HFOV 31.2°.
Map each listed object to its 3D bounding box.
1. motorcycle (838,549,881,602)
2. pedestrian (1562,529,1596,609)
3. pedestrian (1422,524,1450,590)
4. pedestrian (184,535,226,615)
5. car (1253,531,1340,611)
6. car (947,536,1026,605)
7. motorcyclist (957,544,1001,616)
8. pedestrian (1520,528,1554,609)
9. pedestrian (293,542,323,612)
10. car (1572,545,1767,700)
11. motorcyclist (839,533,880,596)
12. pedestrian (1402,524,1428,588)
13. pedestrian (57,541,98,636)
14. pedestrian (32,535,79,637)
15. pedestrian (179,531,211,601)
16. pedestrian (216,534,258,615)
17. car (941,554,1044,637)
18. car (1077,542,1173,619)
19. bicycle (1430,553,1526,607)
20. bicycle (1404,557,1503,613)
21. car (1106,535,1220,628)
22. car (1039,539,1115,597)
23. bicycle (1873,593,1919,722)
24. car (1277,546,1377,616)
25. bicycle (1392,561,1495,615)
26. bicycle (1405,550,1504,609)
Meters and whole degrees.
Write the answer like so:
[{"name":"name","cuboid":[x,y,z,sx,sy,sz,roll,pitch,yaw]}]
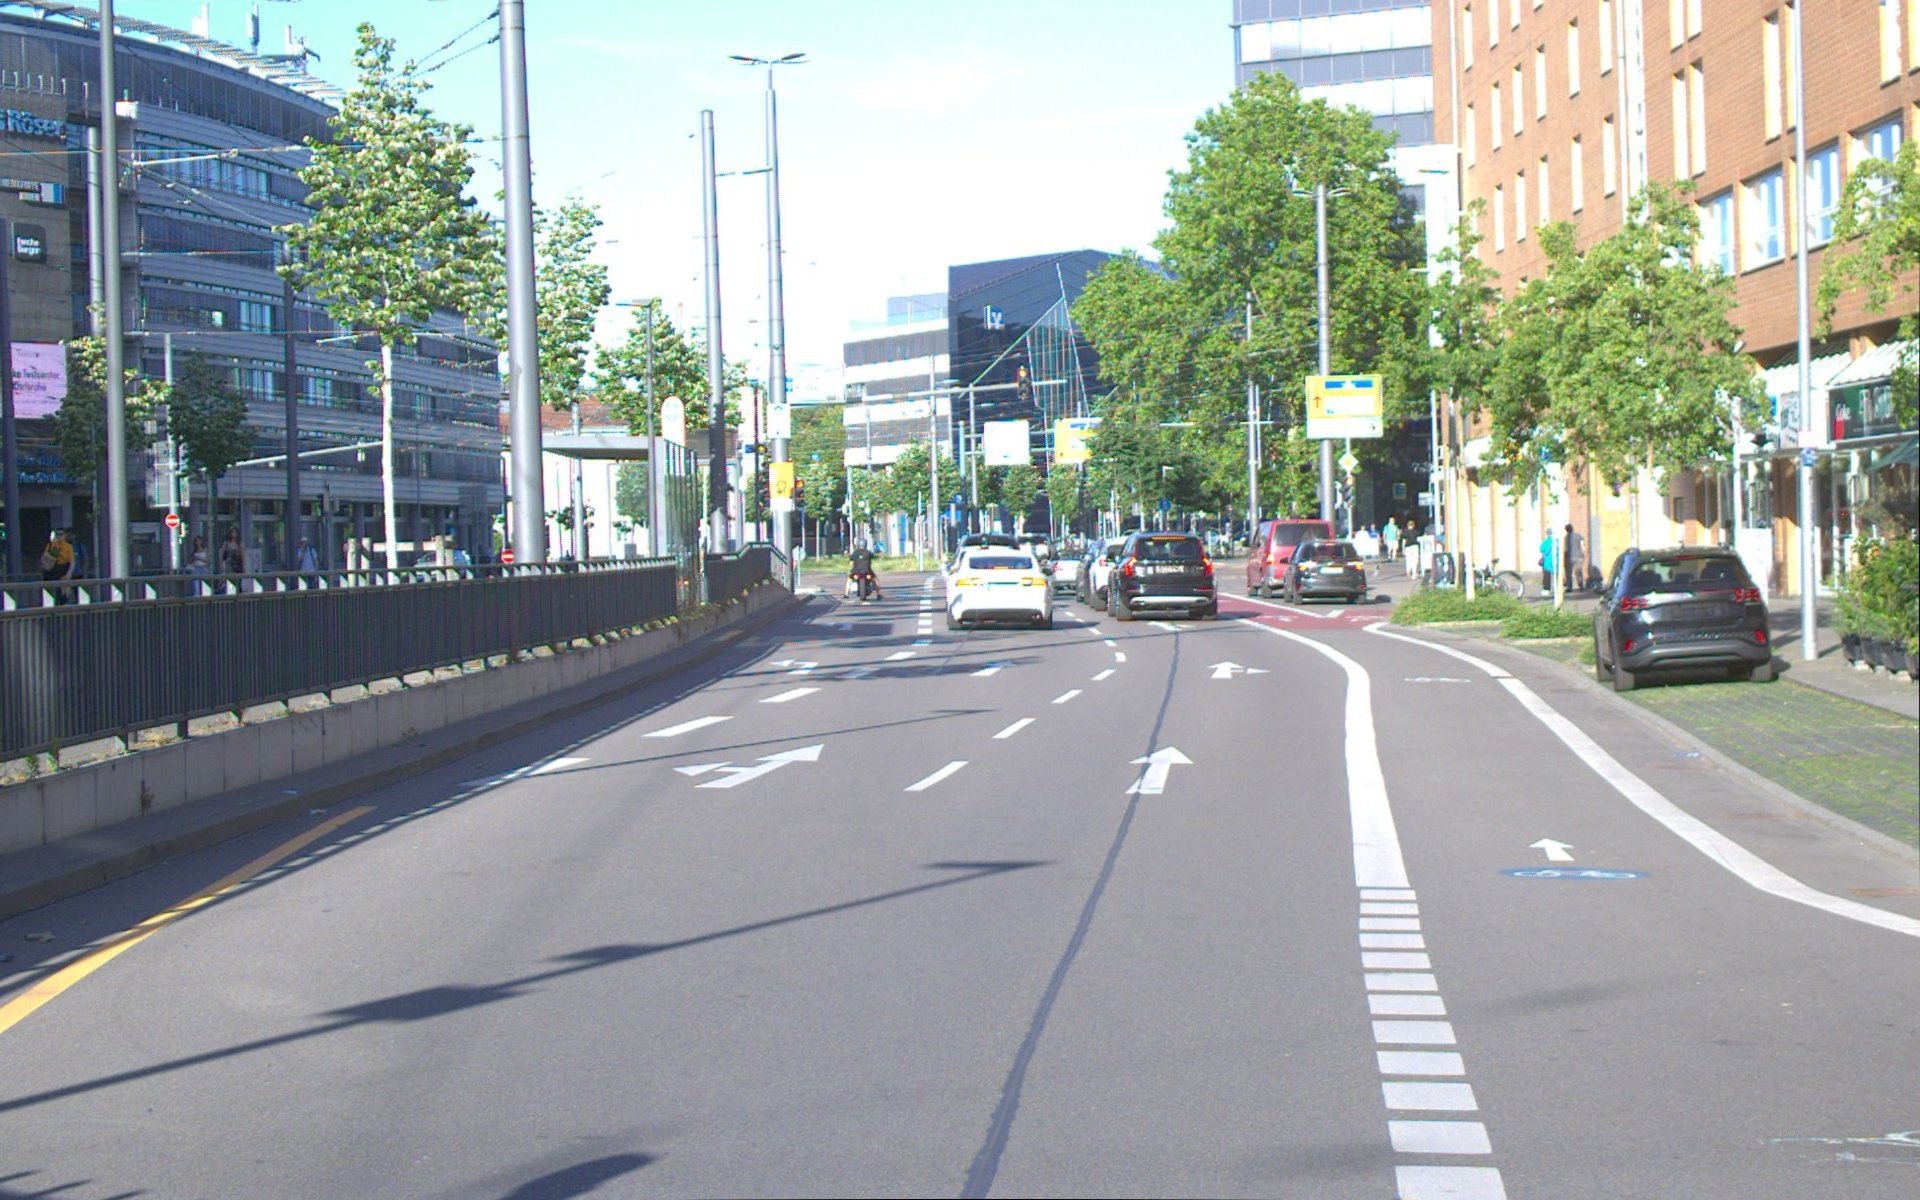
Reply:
[{"name":"motorcycle","cuboid":[-2.586,-0.636,88.624,1.019,1.307,2.915,1,1,0]},{"name":"pedestrian","cuboid":[14.183,-0.721,78.772,0.606,1.815,0.748,-1,1,-1]},{"name":"pedestrian","cuboid":[13.215,-1.192,95.459,0.606,1.815,0.748,-1,1,-1]},{"name":"pedestrian","cuboid":[-15.382,-0.515,70.072,0.640,1.602,0.945,1,1,0]},{"name":"car","cuboid":[8.513,-0.762,87.265,1.860,1.954,4.000,-1,1,1]},{"name":"car","cuboid":[0.577,-0.690,77.332,1.692,1.491,4.409,1,1,0]},{"name":"motorcyclist","cuboid":[0.396,-0.429,71.696,0.837,1.470,1.236,-1,1,-1]},{"name":"pedestrian","cuboid":[13.125,-0.724,78.214,0.606,1.815,0.748,-1,1,-1]},{"name":"pedestrian","cuboid":[-17.005,-0.606,89.684,0.614,1.811,0.897,0,1,0]},{"name":"car","cuboid":[8.094,0.211,39.497,1.721,1.631,4.230,-2,1,6]},{"name":"motorcyclist","cuboid":[-2.588,-0.914,88.643,1.019,1.598,1.148,1,1,0]},{"name":"pedestrian","cuboid":[13.124,-1.263,99.186,0.606,1.815,0.748,-1,1,-1]},{"name":"pedestrian","cuboid":[-16.075,-0.211,62.647,0.581,1.732,0.616,0,1,0]},{"name":"pedestrian","cuboid":[-15.230,-0.239,57.909,0.640,1.690,0.541,1,1,0]},{"name":"pedestrian","cuboid":[-17.370,-0.774,78.069,0.563,1.603,0.616,0,1,0]},{"name":"pedestrian","cuboid":[-14.721,-0.525,70.046,0.640,1.637,0.945,1,1,0]},{"name":"car","cuboid":[0.554,-0.109,62.946,1.780,1.409,4.819,1,1,-1]},{"name":"car","cuboid":[3.615,-0.452,76.030,1.851,1.634,4.379,-1,1,-1]},{"name":"bicycle","cuboid":[11.013,-0.432,73.112,1.946,1.071,0.625,-2,0,12]},{"name":"bicycle","cuboid":[10.073,-0.310,70.211,1.946,1.071,0.554,-2,0,11]},{"name":"car","cuboid":[4.008,-0.400,68.507,1.975,1.753,4.633,1,1,0]},{"name":"car","cuboid":[3.148,-0.886,93.047,1.851,1.492,4.379,0,1,0]},{"name":"bicycle","cuboid":[8.613,0.470,29.567,0.765,1.077,1.998,-6,0,-4]},{"name":"car","cuboid":[8.610,-0.476,80.929,1.846,1.555,4.633,1,1,0]},{"name":"bicycle","cuboid":[9.702,-0.245,68.988,1.946,1.019,0.501,-2,0,17]},{"name":"bicycle","cuboid":[10.172,-0.425,70.731,1.946,1.133,0.490,-2,0,11]}]
